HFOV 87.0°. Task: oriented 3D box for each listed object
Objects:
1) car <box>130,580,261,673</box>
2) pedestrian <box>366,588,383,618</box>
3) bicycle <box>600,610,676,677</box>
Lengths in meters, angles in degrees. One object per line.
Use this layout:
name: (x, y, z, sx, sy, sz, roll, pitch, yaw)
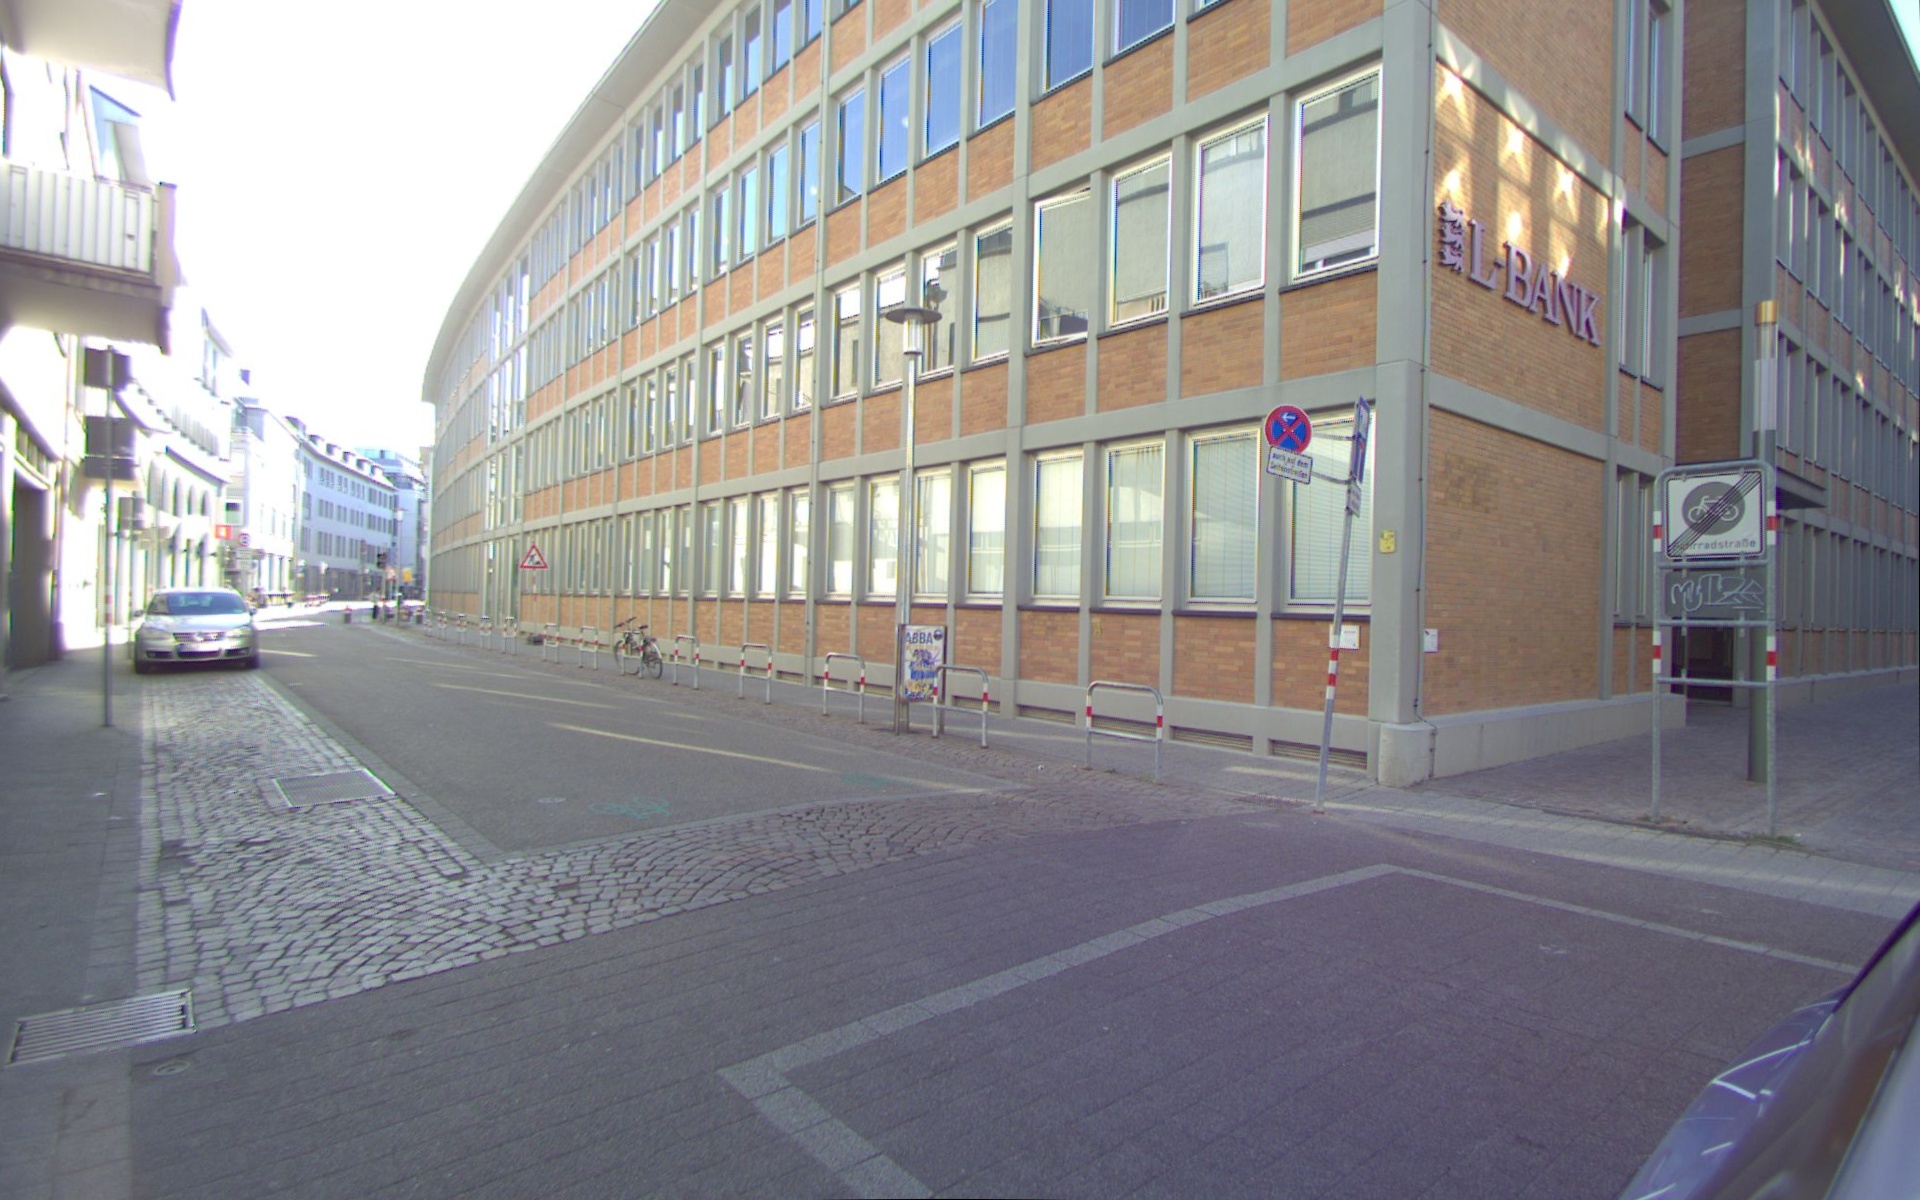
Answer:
car: (-13.888, 0.382, 18.374, 1.739, 1.488, 3.810, -1, 2, -38)
pedestrian: (-28.384, 0.139, 49.073, 0.647, 1.459, 0.595, 1, 0, -37)
bicycle: (-5.904, 0.762, 18.492, 0.627, 1.130, 1.928, 1, 0, -40)
